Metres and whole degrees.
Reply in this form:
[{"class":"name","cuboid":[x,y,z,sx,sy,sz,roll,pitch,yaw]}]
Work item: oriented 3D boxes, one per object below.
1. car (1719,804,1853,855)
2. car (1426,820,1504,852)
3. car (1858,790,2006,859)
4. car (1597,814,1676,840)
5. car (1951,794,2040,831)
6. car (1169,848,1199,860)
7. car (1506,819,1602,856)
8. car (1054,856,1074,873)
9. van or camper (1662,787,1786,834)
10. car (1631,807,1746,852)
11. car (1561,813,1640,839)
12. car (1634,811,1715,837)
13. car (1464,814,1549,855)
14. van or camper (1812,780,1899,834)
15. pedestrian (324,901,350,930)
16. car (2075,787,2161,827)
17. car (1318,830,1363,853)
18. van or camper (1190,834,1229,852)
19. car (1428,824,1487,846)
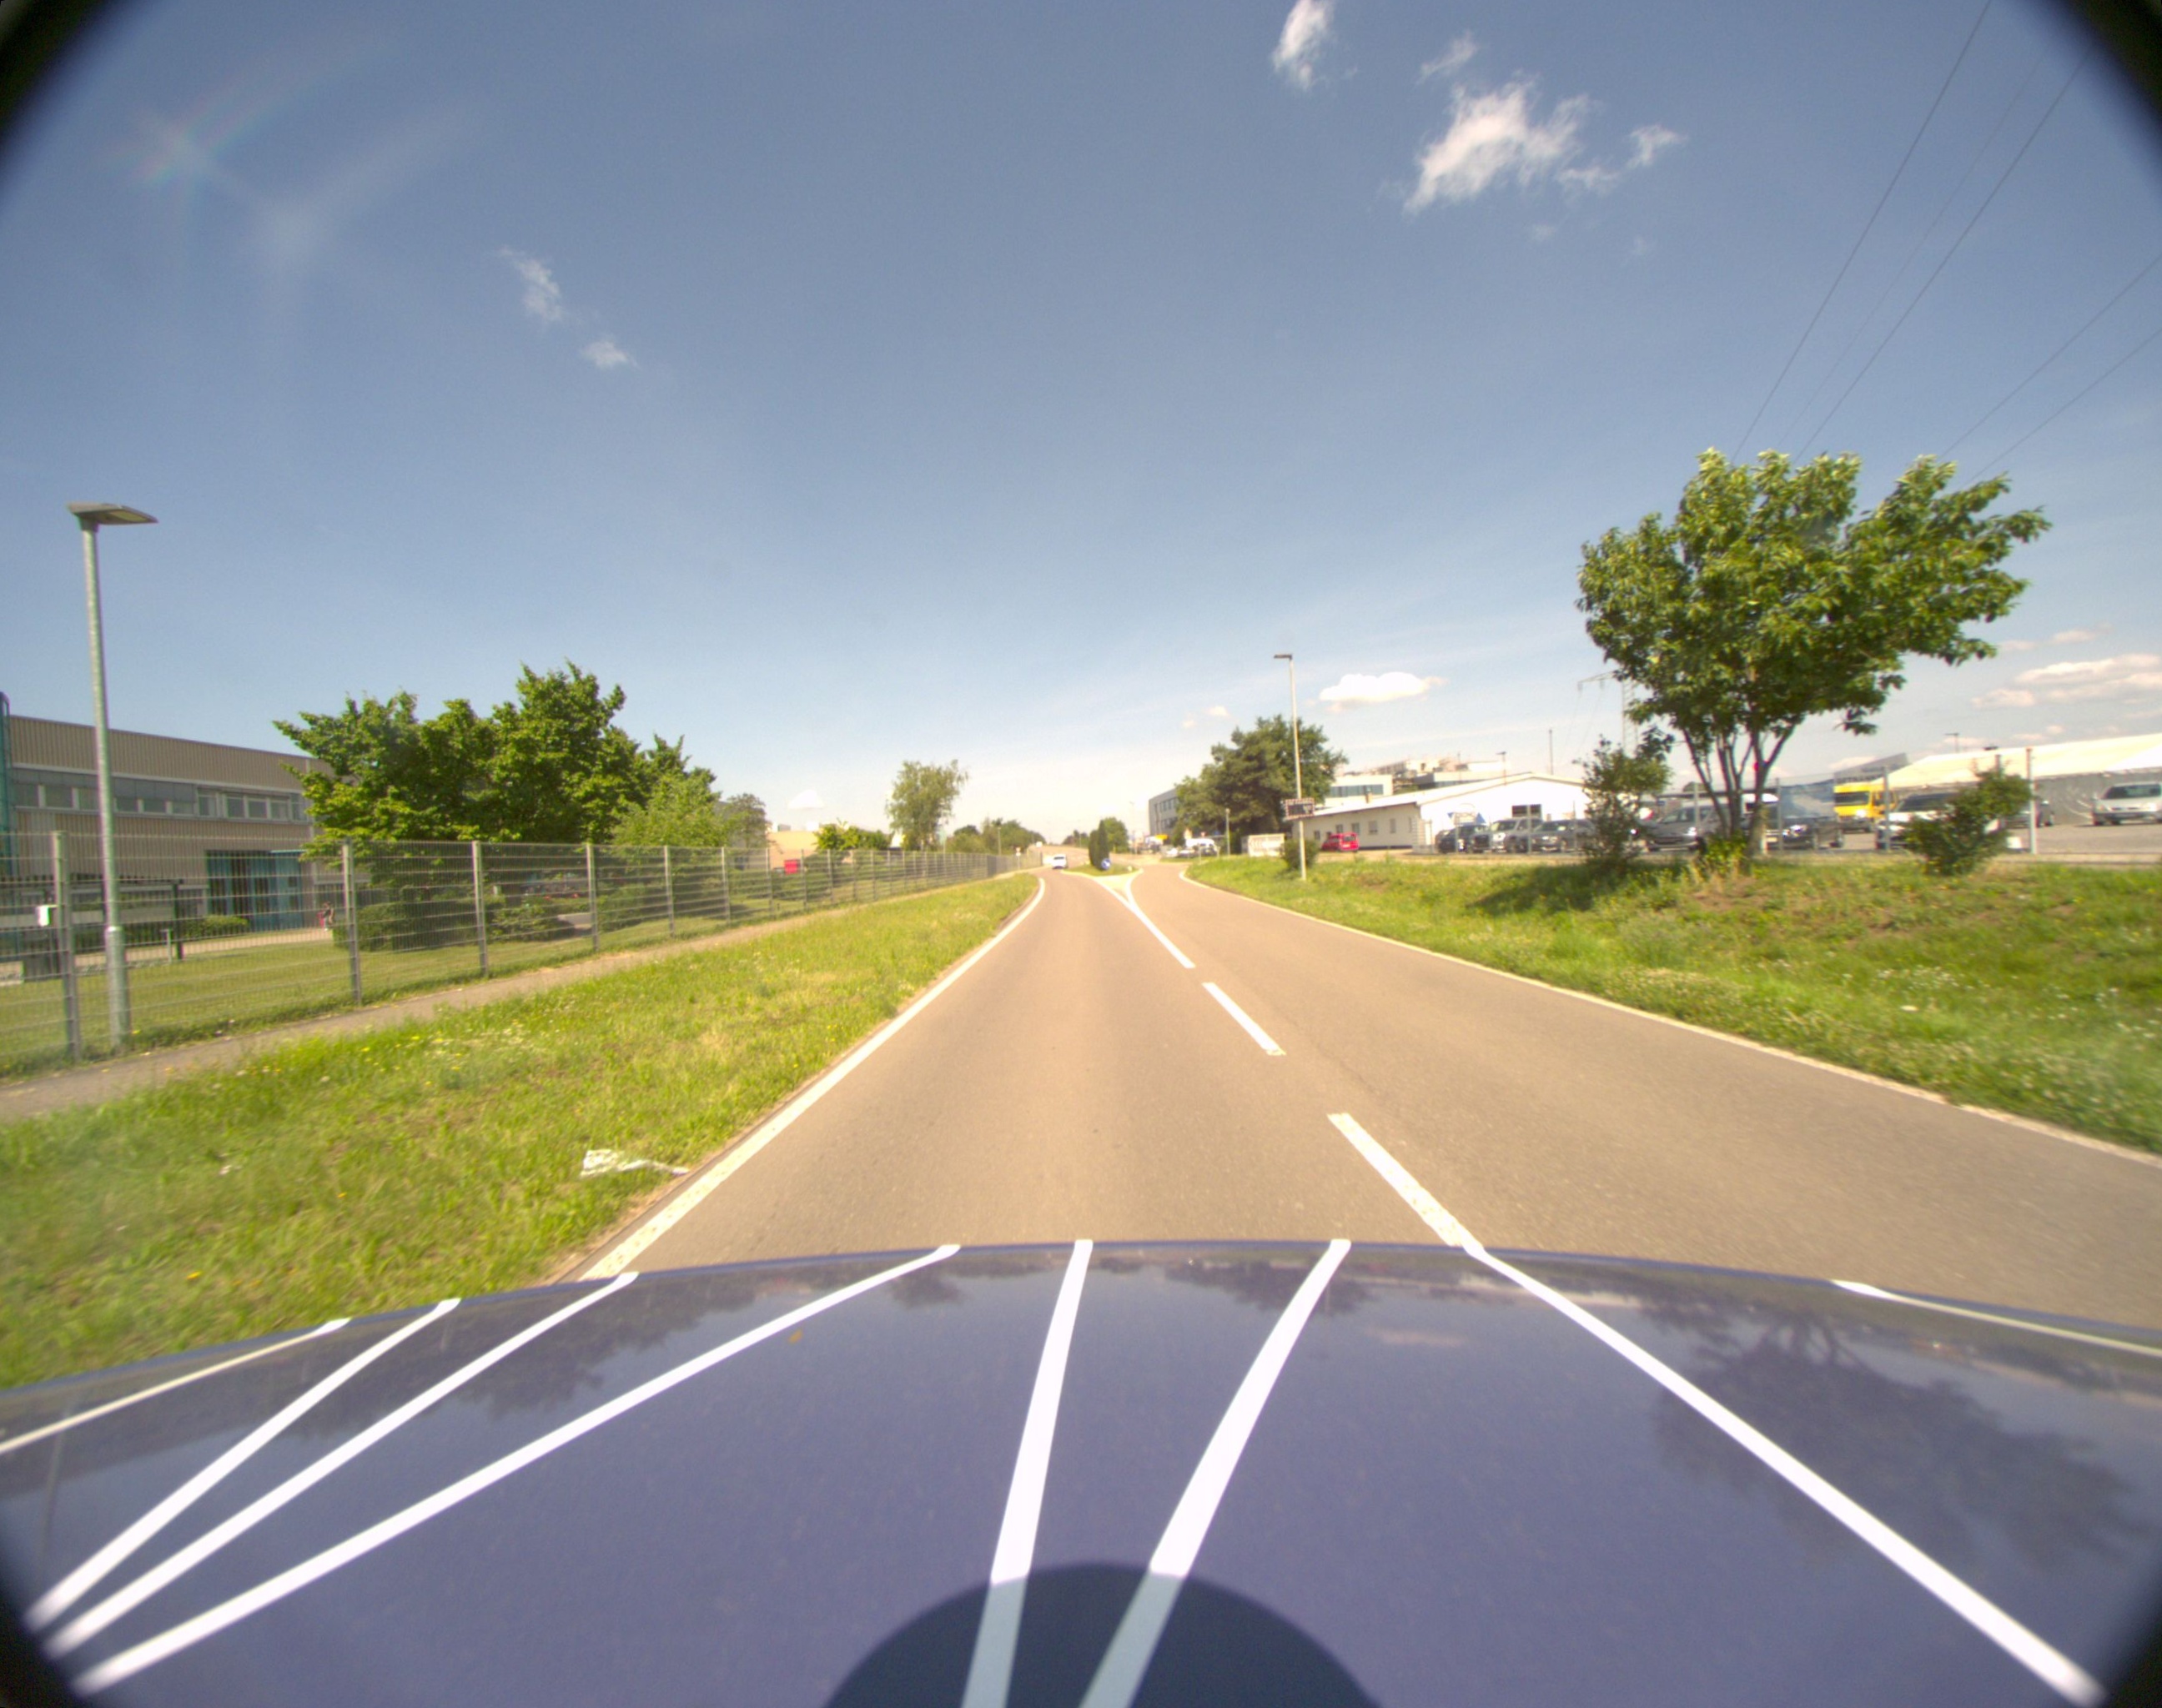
[{"class":"car","cuboid":[21.614,-0.756,23.263,4.005,1.302,1.938,-4,0,-31]},{"class":"car","cuboid":[19.780,-0.932,39.128,3.574,1.393,1.797,-4,1,-27]},{"class":"car","cuboid":[22.377,-0.781,19.952,4.006,1.531,1.938,-4,0,-33]},{"class":"car","cuboid":[35.923,-1.697,49.266,1.925,1.425,3.998,-4,0,-4]},{"class":"car","cuboid":[38.957,-1.754,32.354,4.006,1.302,1.938,-4,0,-33]},{"class":"car","cuboid":[14.725,0.003,108.305,3.996,1.510,2.000,-3,1,3]},{"class":"car","cuboid":[20.448,-0.729,32.843,4.006,1.302,1.938,-4,1,-33]},{"class":"car","cuboid":[-2.215,1.349,99.713,1.998,1.904,4.001,-3,1,5]},{"class":"van or camper","cuboid":[42.000,-2.778,49.975,1.999,2.584,6.767,-4,0,-4]},{"class":"car","cuboid":[21.429,-0.856,26.757,4.006,1.302,1.938,-4,0,-33]},{"class":"car","cuboid":[33.202,-1.751,48.722,1.926,1.425,3.997,-4,0,-9]},{"class":"car","cuboid":[38.612,-1.934,49.536,1.925,1.425,3.998,-4,0,-4]},{"class":"car","cuboid":[20.169,-0.931,35.987,4.115,1.695,1.719,-4,1,-33]},{"class":"van or camper","cuboid":[38.414,-2.345,37.635,5.348,2.361,1.890,-4,1,-33]},{"class":"pedestrian","cuboid":[-38.017,3.135,38.807,0.515,1.383,0.730,-4,1,-4]},{"class":"car","cuboid":[40.052,-1.832,29.188,4.006,1.302,1.938,-4,0,-33]},{"class":"car","cuboid":[22.278,-1.054,65.357,1.999,1.734,4.227,-3,1,-6]},{"class":"van or camper","cuboid":[20.143,-1.780,119.395,5.576,2.483,2.081,-3,1,23]},{"class":"car","cuboid":[31.453,-1.562,63.500,4.000,1.516,1.935,-4,0,-9]}]
